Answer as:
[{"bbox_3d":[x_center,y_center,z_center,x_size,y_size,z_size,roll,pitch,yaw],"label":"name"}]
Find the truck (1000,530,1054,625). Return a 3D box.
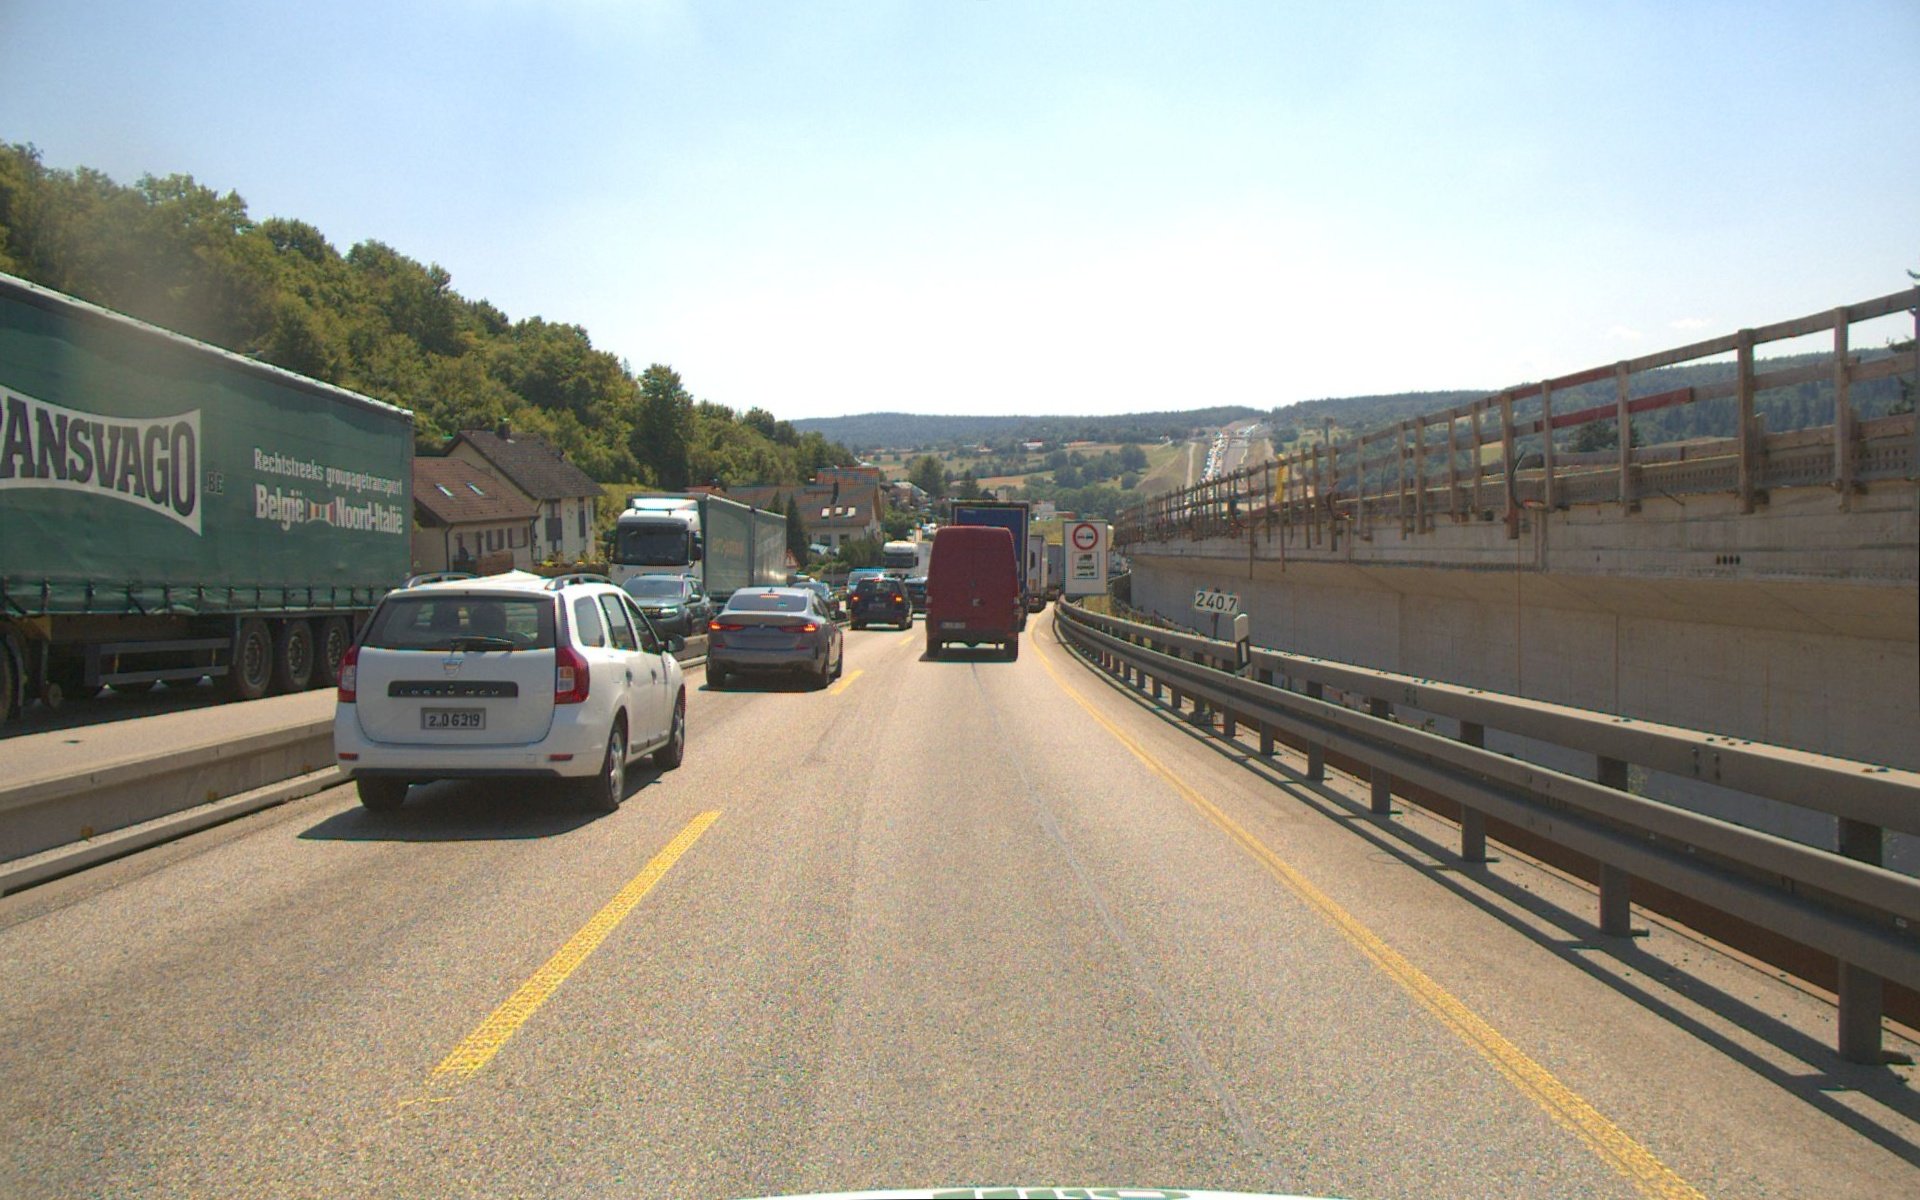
[{"bbox_3d":[3.701,-1.123,89.947,2.728,4.900,9.688,0,0,3],"label":"truck"}]

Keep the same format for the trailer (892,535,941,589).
[{"bbox_3d":[-3.458,-3.012,134.206,2.940,4.238,9.023,1,1,5],"label":"trailer"}]

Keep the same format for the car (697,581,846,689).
[{"bbox_3d":[-2.762,0.472,25.047,1.758,1.511,4.050,0,0,0],"label":"car"}]

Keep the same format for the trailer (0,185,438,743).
[{"bbox_3d":[-9.902,-1.175,19.318,3.001,4.900,14.002,1,0,1],"label":"trailer"}]

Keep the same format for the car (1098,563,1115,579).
[{"bbox_3d":[19.887,-3.859,223.760,2.086,2.049,4.003,0,0,8],"label":"car"}]

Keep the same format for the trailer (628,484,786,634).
[{"bbox_3d":[-8.790,-1.264,59.714,2.774,4.723,14.585,0,0,3],"label":"trailer"}]

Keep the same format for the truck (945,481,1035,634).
[{"bbox_3d":[1.185,-1.345,58.135,2.728,4.900,9.688,0,0,3],"label":"truck"}]

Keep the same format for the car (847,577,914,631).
[{"bbox_3d":[-2.513,0.133,53.086,1.772,1.636,3.720,0,0,3],"label":"car"}]

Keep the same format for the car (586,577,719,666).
[{"bbox_3d":[-6.217,0.397,33.828,1.917,1.710,4.114,0,0,0],"label":"car"}]

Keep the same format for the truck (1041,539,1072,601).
[{"bbox_3d":[7.081,-2.147,121.592,1.951,4.458,4.003,0,-1,7],"label":"truck"}]

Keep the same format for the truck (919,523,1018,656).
[{"bbox_3d":[0.176,-0.196,34.948,1.953,2.624,4.000,1,0,0],"label":"truck"}]

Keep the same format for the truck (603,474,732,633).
[{"bbox_3d":[-9.036,-1.351,51.736,2.787,4.660,5.788,0,0,2],"label":"truck"}]

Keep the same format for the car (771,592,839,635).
[{"bbox_3d":[-5.616,0.480,60.424,1.862,1.488,4.758,1,0,2],"label":"car"}]

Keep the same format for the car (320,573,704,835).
[{"bbox_3d":[-3.008,0.624,12.021,1.618,1.509,4.266,-2,0,0],"label":"car"}]

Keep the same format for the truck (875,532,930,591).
[{"bbox_3d":[-4.212,-2.872,124.455,2.915,4.234,10.552,1,1,5],"label":"truck"}]

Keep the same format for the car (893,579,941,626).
[{"bbox_3d":[-1.731,0.103,68.134,1.693,1.870,4.001,0,0,2],"label":"car"}]
